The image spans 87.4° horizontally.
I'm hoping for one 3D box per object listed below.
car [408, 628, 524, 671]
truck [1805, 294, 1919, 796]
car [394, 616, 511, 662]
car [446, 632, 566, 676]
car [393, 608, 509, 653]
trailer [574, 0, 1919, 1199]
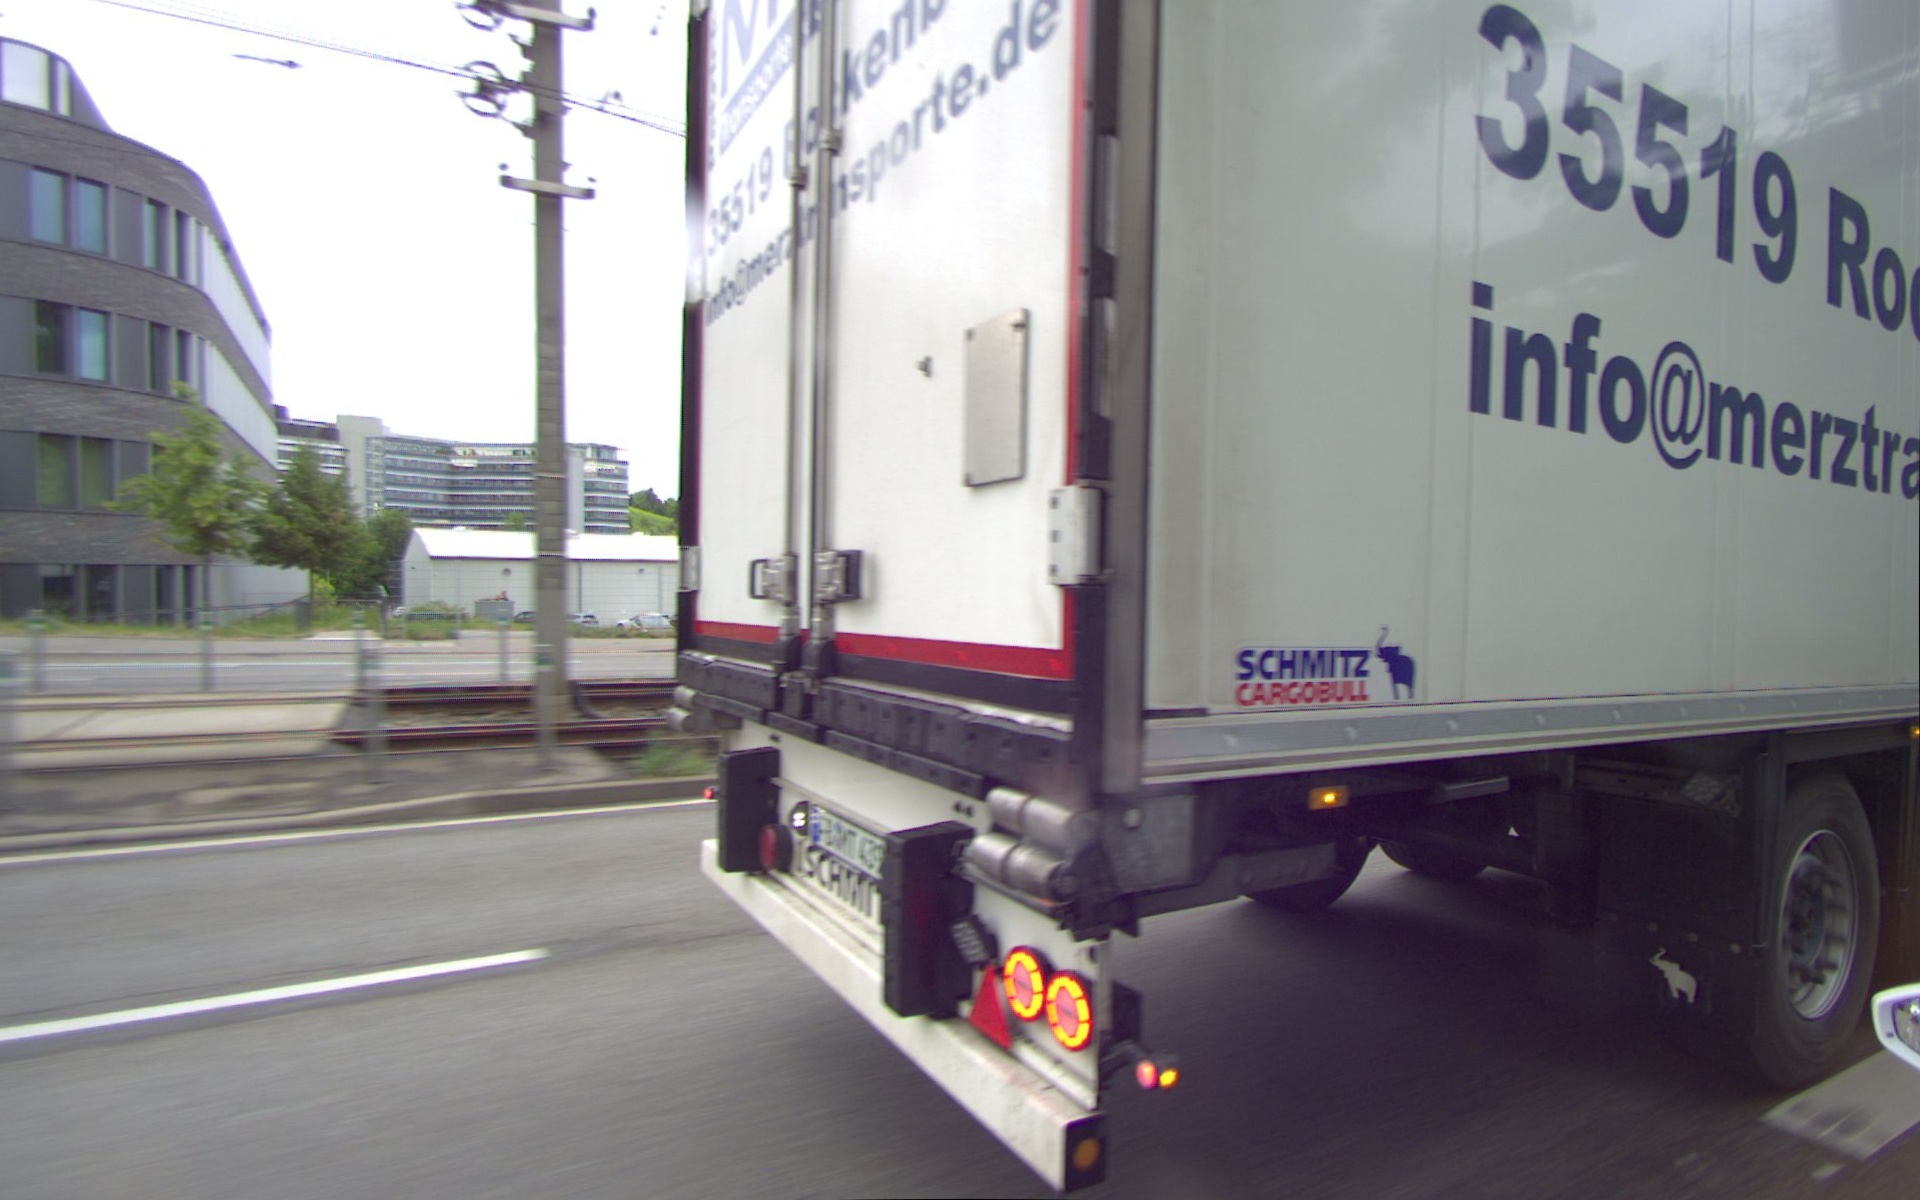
[{"bbox_3d":[-17.271,1.726,35.127,3.527,1.400,1.533,2,0,-31],"label":"car"},{"bbox_3d":[11.099,-0.414,9.614,6.234,4.261,2.742,1,0,-31],"label":"truck"},{"bbox_3d":[-18.637,1.423,36.896,3.745,1.565,1.732,2,0,-30],"label":"car"},{"bbox_3d":[-15.300,1.812,33.884,3.527,1.353,1.610,2,0,-30],"label":"car"},{"bbox_3d":[-20.080,1.223,39.659,3.953,1.676,1.732,2,0,-31],"label":"car"},{"bbox_3d":[4.890,-0.536,5.843,13.032,4.309,2.748,1,0,-31],"label":"trailer"}]
